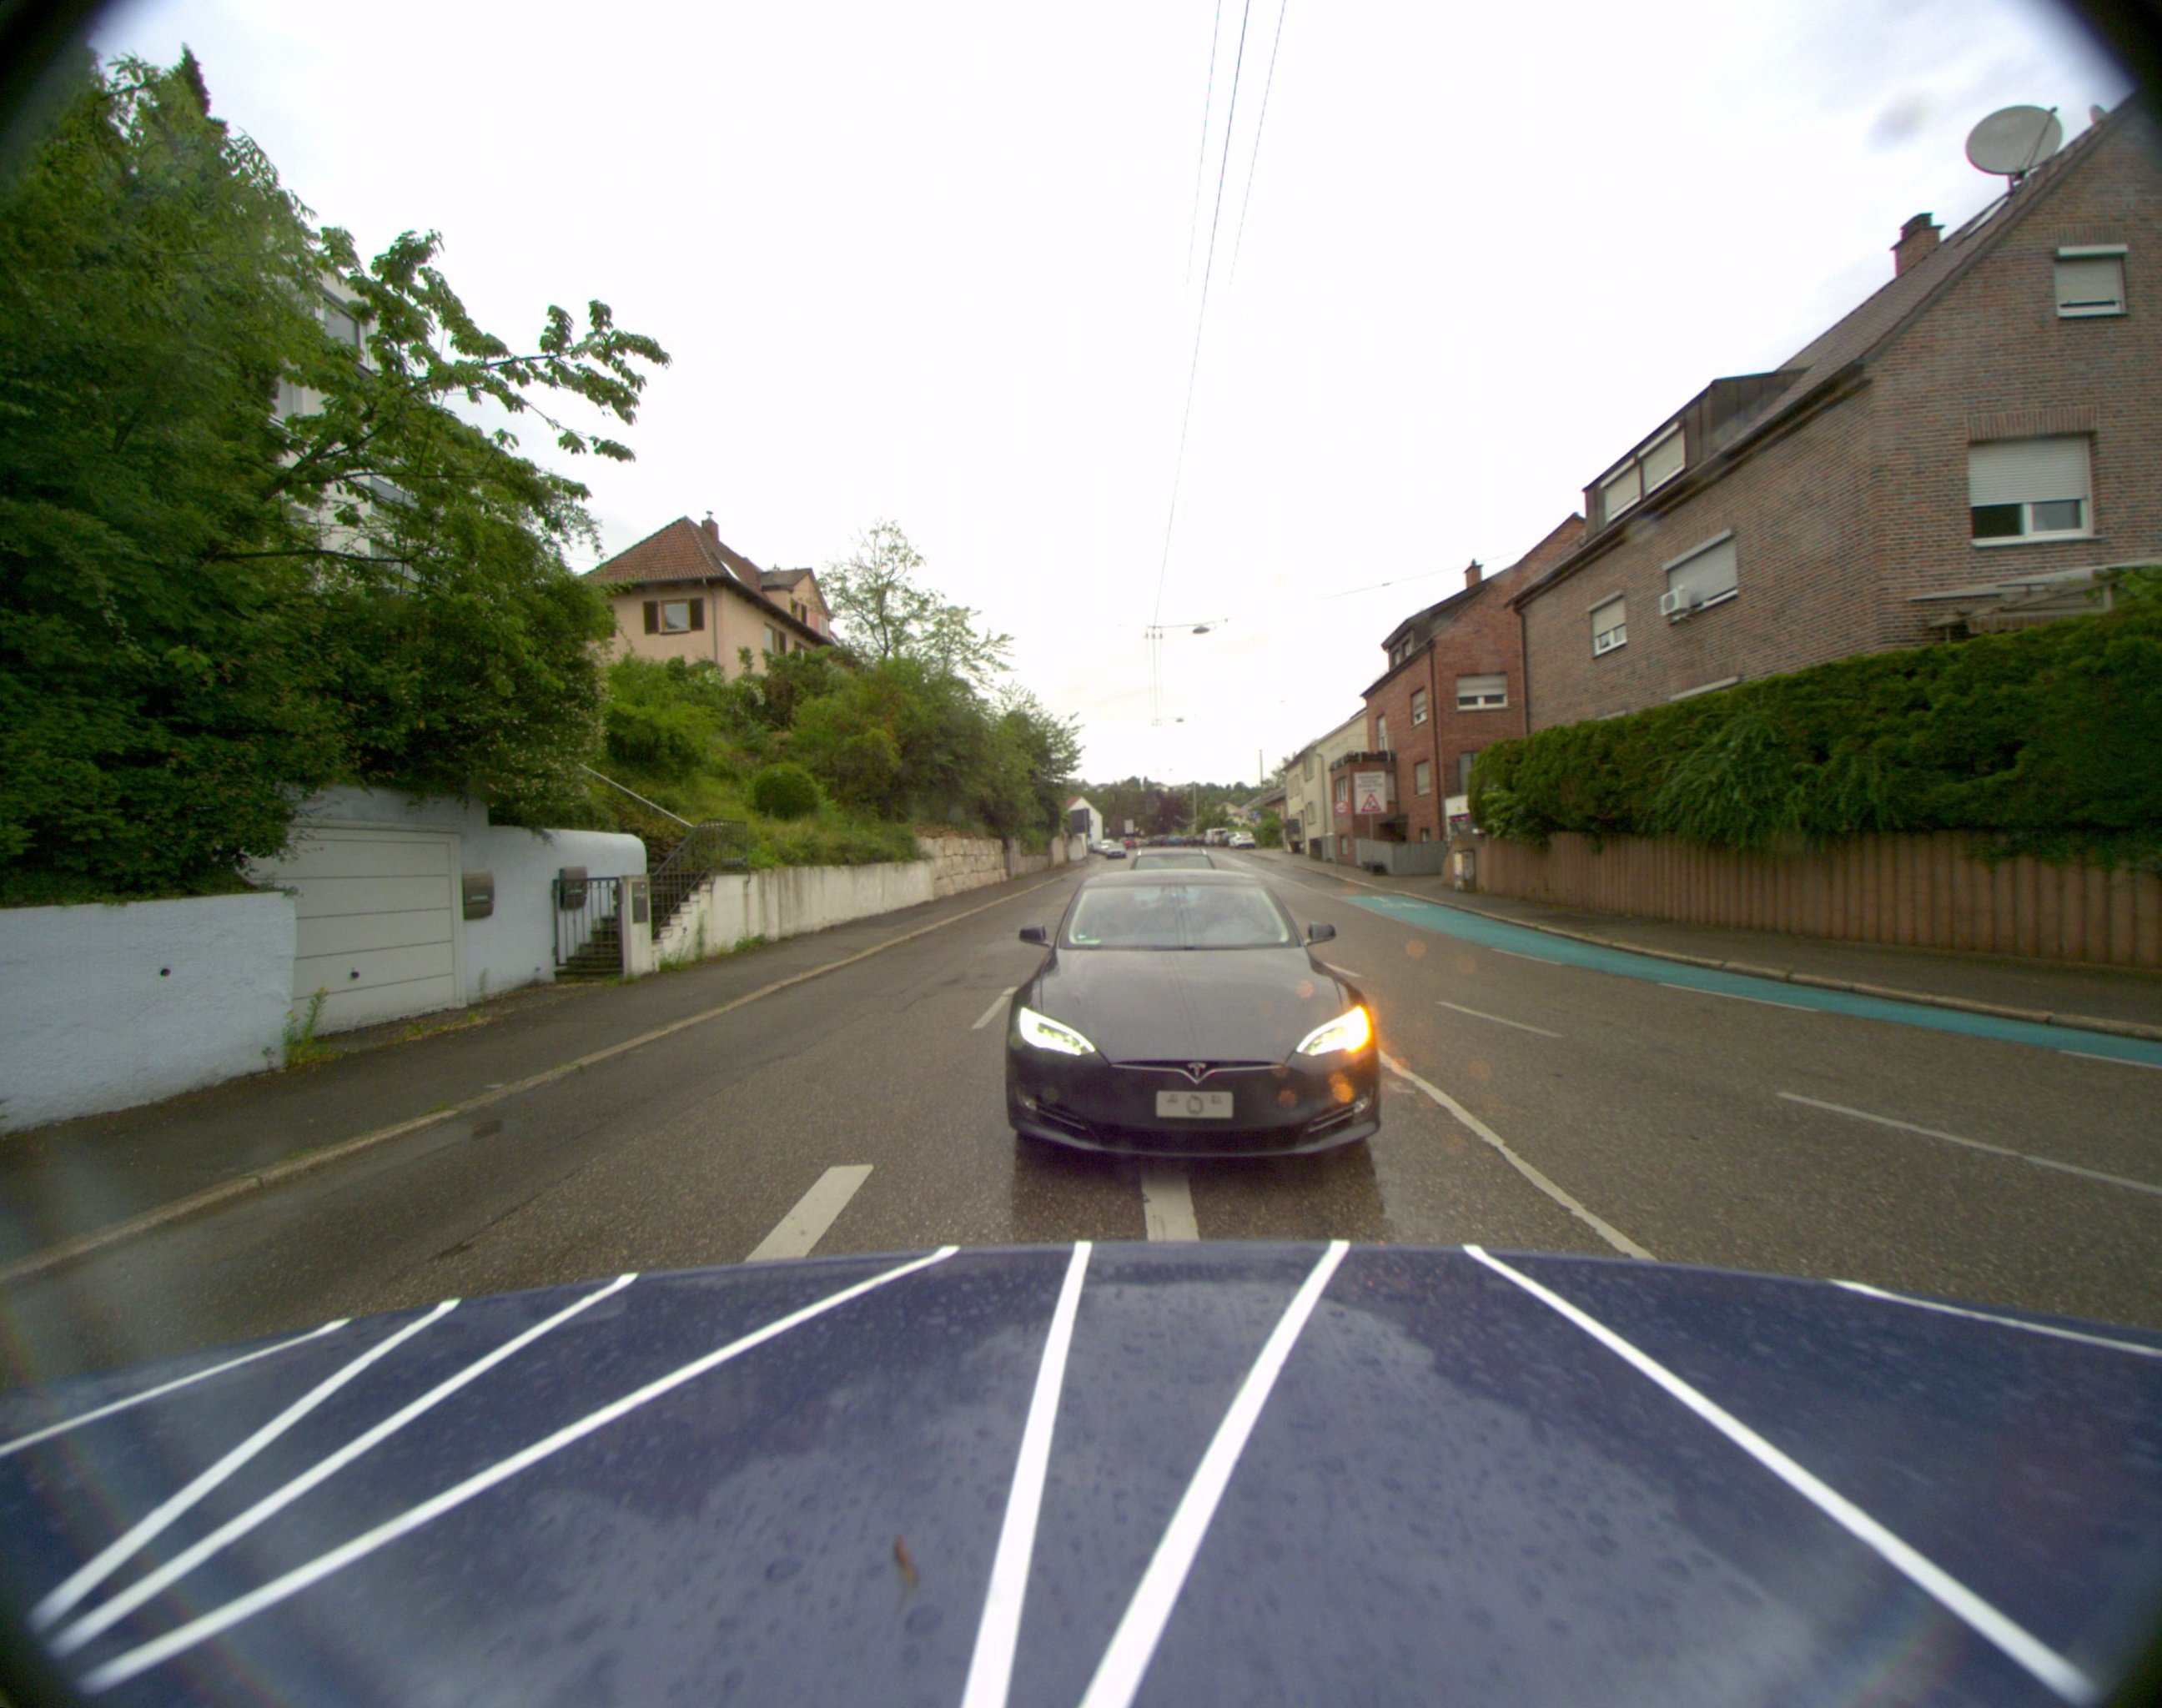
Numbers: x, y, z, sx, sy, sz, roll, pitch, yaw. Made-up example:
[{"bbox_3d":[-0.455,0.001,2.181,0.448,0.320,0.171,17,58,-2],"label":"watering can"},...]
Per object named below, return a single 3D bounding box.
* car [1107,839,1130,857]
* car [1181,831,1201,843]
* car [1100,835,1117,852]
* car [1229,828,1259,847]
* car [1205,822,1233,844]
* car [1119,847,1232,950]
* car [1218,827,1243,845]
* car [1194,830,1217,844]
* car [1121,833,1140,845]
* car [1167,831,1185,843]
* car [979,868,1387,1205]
[{"bbox_3d":[3.653,-0.551,73.225,2.002,1.596,4.360,-2,-1,4],"label":"car"},{"bbox_3d":[14.060,-2.177,97.468,1.654,1.388,3.859,-4,1,-4],"label":"car"},{"bbox_3d":[3.185,-1.285,89.026,1.820,1.855,4.038,-2,2,-1],"label":"car"},{"bbox_3d":[15.356,-1.553,71.954,1.946,1.557,4.263,-4,1,2],"label":"car"},{"bbox_3d":[15.612,-2.333,86.132,2.257,2.273,4.546,-4,1,0],"label":"car"},{"bbox_3d":[1.672,0.707,14.249,1.789,1.580,3.784,-2,1,4],"label":"car"},{"bbox_3d":[15.723,-1.904,80.102,1.814,1.793,4.263,-4,1,2],"label":"car"},{"bbox_3d":[15.003,-2.055,91.498,1.654,1.482,4.009,-4,1,-6],"label":"car"},{"bbox_3d":[6.934,-2.134,105.924,1.854,1.671,4.168,0,2,-8],"label":"car"},{"bbox_3d":[12.826,-2.242,102.532,1.624,1.482,3.901,-4,1,-4],"label":"car"},{"bbox_3d":[0.617,0.910,5.564,1.870,1.407,4.000,-2,1,4],"label":"car"}]
